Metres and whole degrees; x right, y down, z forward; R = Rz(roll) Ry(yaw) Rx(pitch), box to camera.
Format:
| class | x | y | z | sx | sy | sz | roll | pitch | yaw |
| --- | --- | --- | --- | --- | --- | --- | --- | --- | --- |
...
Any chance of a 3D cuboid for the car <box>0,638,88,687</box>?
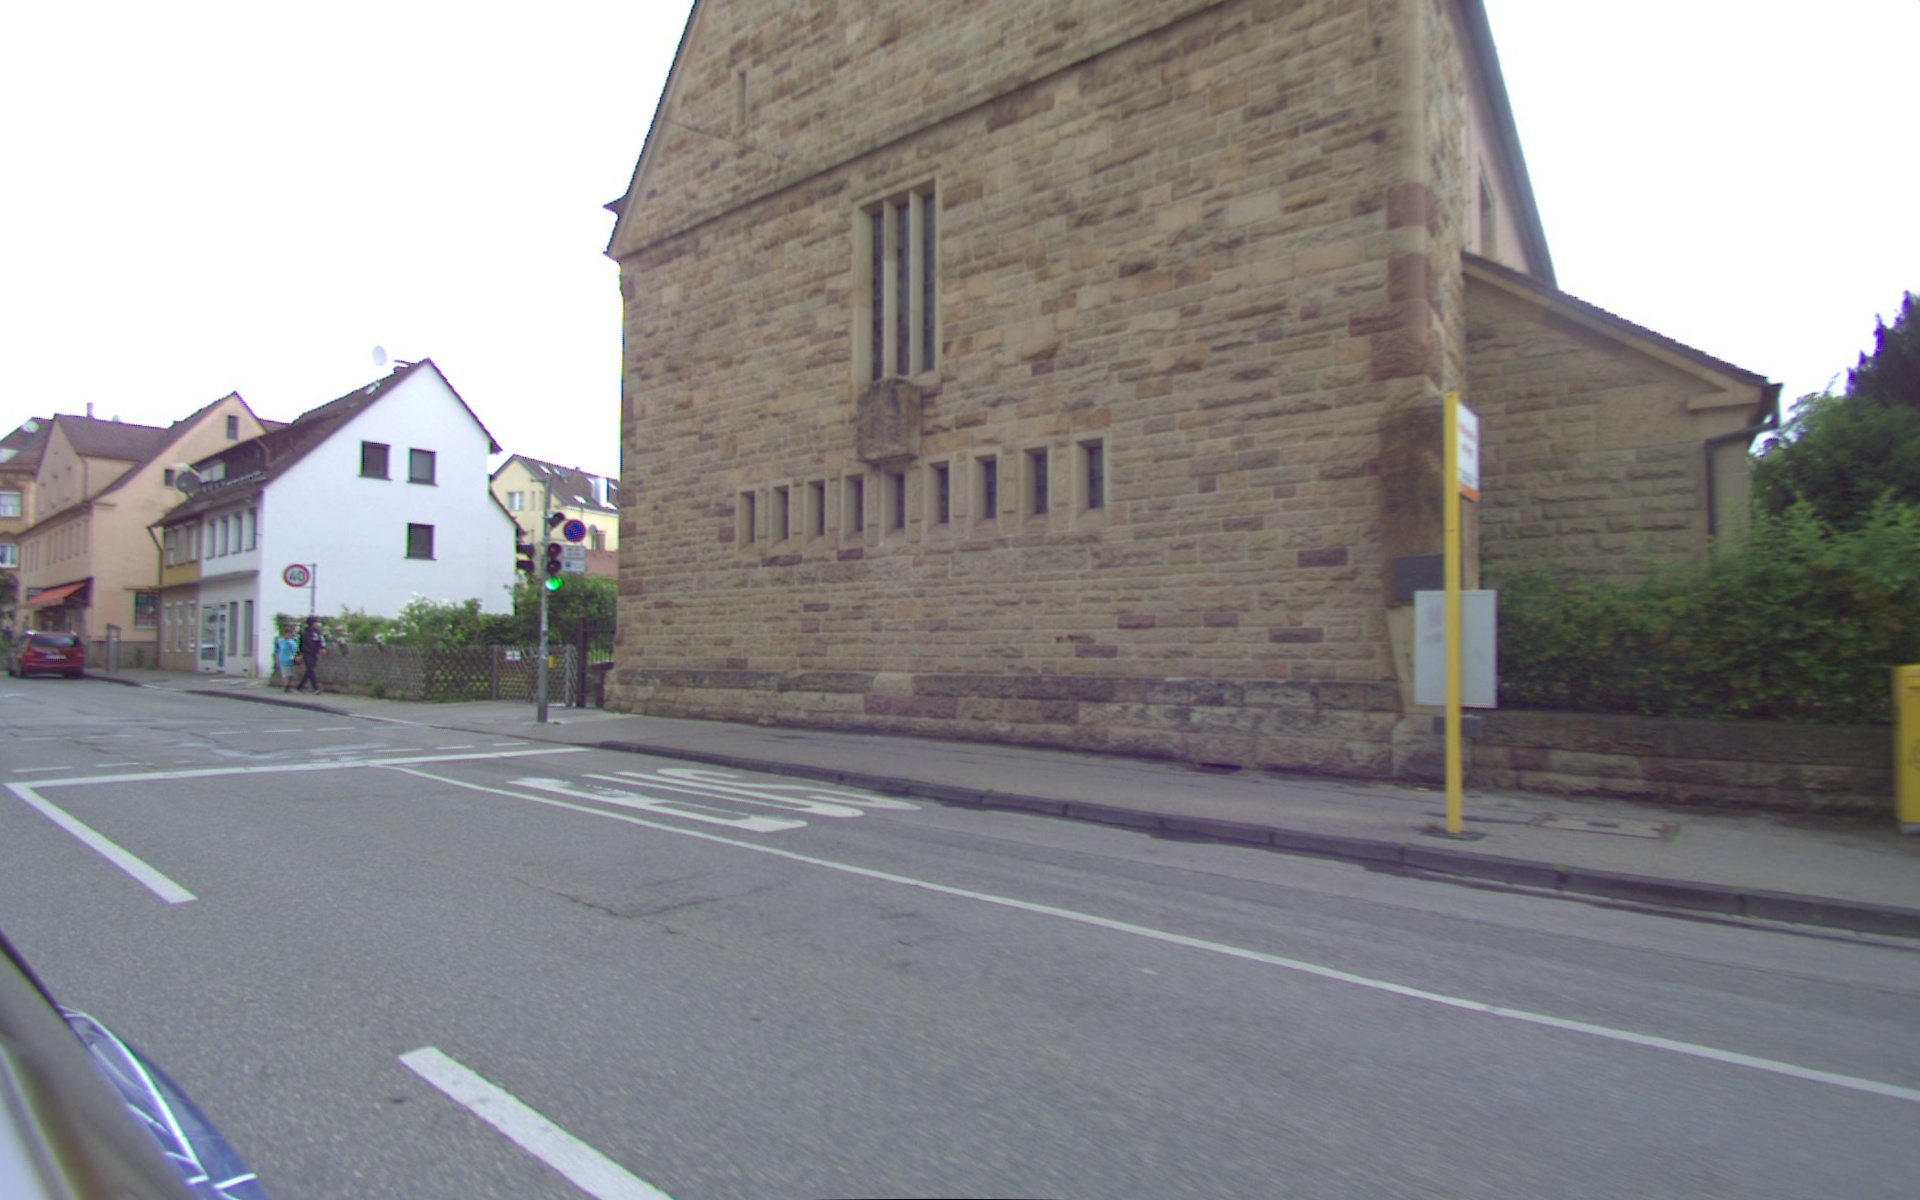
| class | x | y | z | sx | sy | sz | roll | pitch | yaw |
| --- | --- | --- | --- | --- | --- | --- | --- | --- | --- |
| car | -32.317 | 2.189 | 35.631 | 4.447 | 1.586 | 1.685 | -1 | -5 | 40 |

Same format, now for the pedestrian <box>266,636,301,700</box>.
| class | x | y | z | sx | sy | sz | roll | pitch | yaw |
| --- | --- | --- | --- | --- | --- | --- | --- | --- | --- |
| pedestrian | -16.827 | 1.675 | 25.173 | 0.696 | 1.566 | 0.565 | -2 | -2 | 41 |

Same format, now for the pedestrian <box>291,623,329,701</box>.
| class | x | y | z | sx | sy | sz | roll | pitch | yaw |
| --- | --- | --- | --- | --- | --- | --- | --- | --- | --- |
| pedestrian | -15.847 | 1.499 | 24.668 | 0.696 | 1.862 | 0.565 | -2 | -1 | 41 |

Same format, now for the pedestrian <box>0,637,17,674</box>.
| class | x | y | z | sx | sy | sz | roll | pitch | yaw |
| --- | --- | --- | --- | --- | --- | --- | --- | --- | --- |
| pedestrian | -46.184 | 2.690 | 48.915 | 0.982 | 1.768 | 0.731 | -3 | -3 | 42 |

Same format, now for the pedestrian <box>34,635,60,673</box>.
| class | x | y | z | sx | sy | sz | roll | pitch | yaw |
| --- | --- | --- | --- | --- | --- | --- | --- | --- | --- |
| pedestrian | -40.730 | 2.403 | 45.140 | 0.757 | 1.641 | 0.723 | -1 | -1 | 37 |
